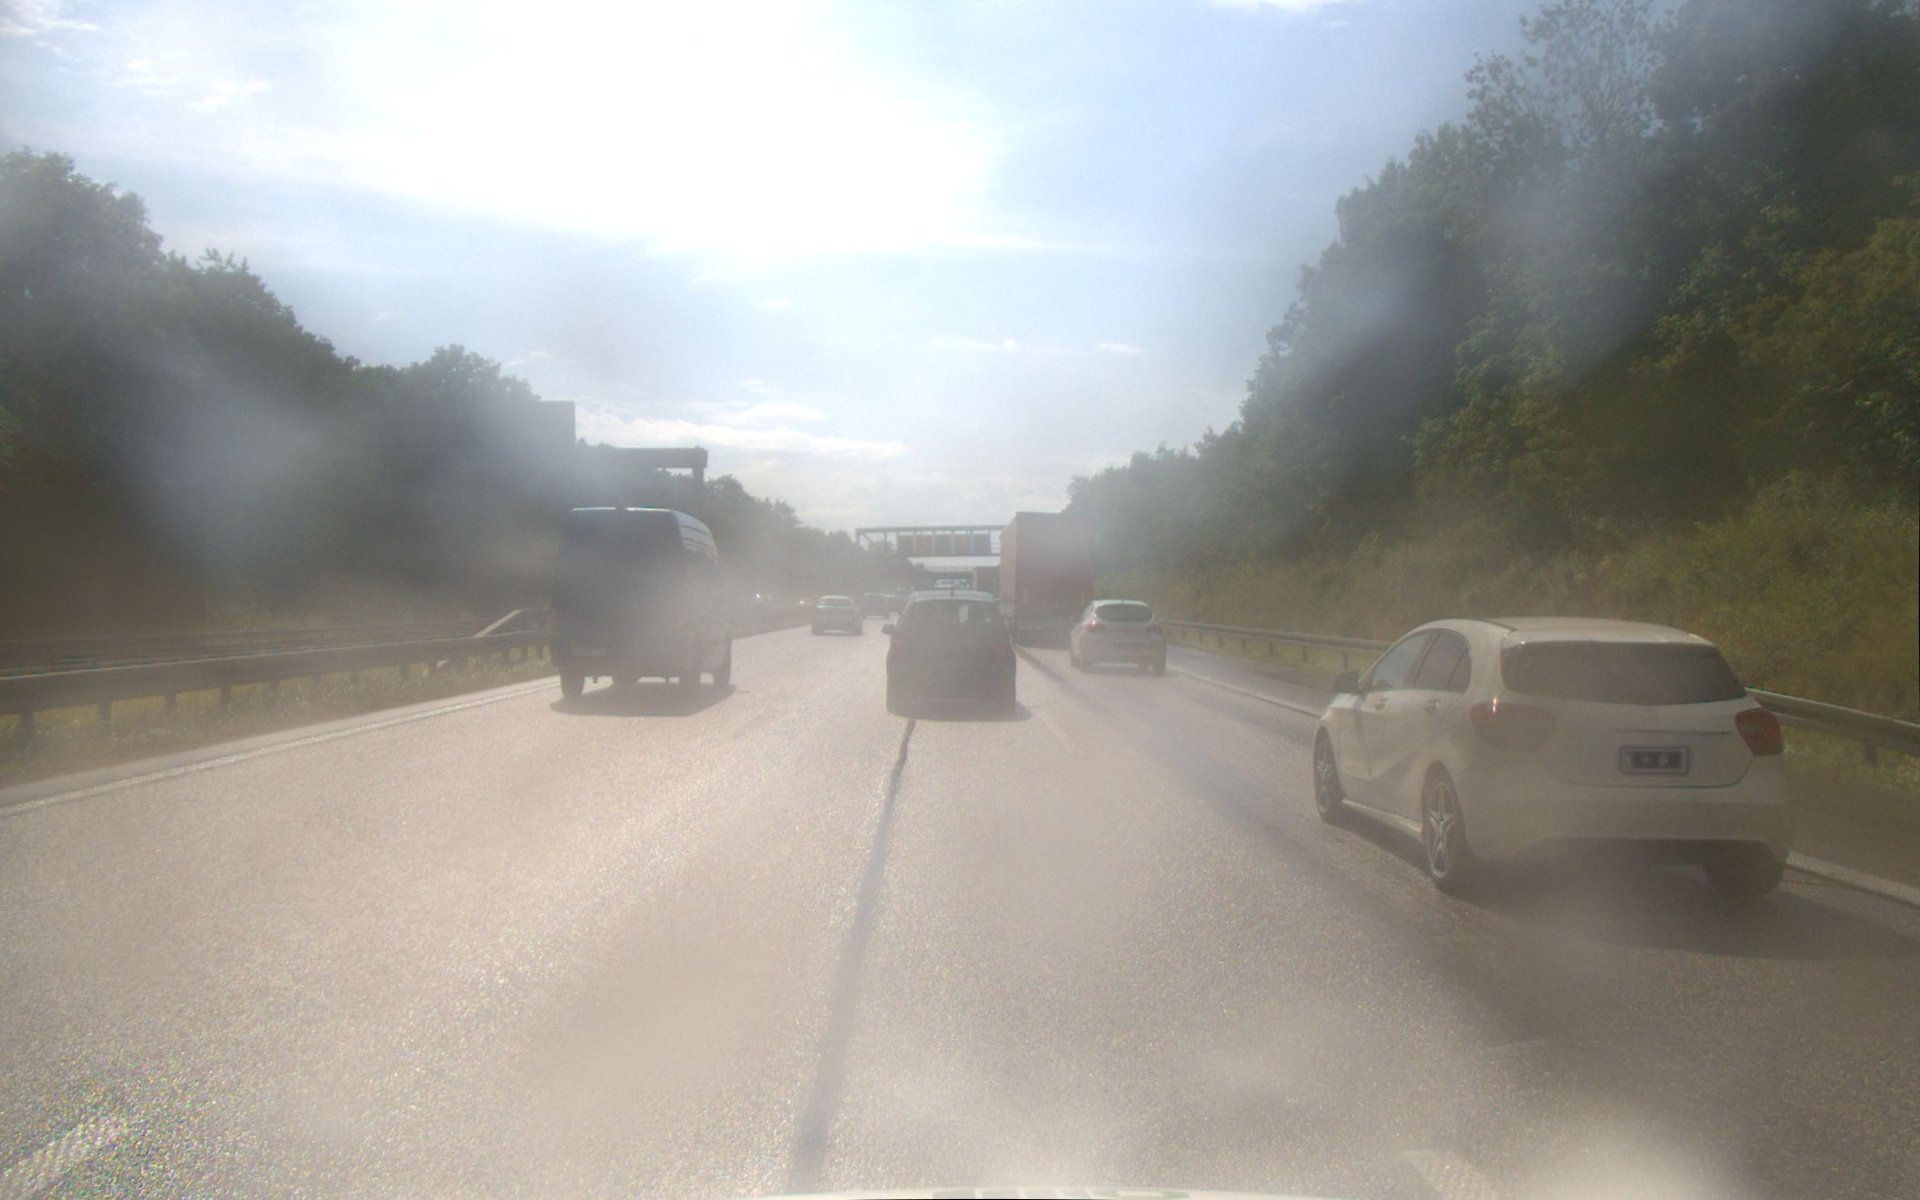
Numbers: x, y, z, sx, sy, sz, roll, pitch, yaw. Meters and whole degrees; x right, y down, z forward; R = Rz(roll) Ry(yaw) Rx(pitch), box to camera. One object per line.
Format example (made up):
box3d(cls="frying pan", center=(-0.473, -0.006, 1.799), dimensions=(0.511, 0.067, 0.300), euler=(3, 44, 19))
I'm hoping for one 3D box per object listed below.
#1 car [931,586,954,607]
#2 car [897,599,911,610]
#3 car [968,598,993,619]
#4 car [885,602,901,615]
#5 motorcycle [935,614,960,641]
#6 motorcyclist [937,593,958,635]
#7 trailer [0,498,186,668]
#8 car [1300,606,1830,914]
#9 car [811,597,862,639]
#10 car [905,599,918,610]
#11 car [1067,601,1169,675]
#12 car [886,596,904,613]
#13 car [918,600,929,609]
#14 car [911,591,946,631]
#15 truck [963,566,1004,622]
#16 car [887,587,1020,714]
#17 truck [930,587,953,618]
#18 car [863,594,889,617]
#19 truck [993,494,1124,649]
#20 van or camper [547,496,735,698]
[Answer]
box3d(cls="car", center=(-1.210, -0.212, 115.476), dimensions=(1.521, 1.407, 3.208), euler=(1, 0, -2))
box3d(cls="car", center=(-6.558, 0.510, 192.906), dimensions=(1.518, 1.289, 3.483), euler=(1, 0, -3))
box3d(cls="car", center=(1.391, 0.554, 114.555), dimensions=(1.521, 1.407, 3.208), euler=(1, 0, -2))
box3d(cls="car", center=(-6.564, 0.841, 161.619), dimensions=(1.518, 1.289, 3.483), euler=(1, 0, -3))
box3d(cls="motorcycle", center=(-0.514, 1.076, 65.148), dimensions=(0.873, 1.018, 2.895), euler=(1, 0, -2))
box3d(cls="motorcyclist", center=(-0.489, 0.548, 65.107), dimensions=(0.785, 1.662, 1.013), euler=(1, 0, -2))
box3d(cls="trailer", center=(-22.172, -0.389, 36.467), dimensions=(2.667, 3.708, 16.672), euler=(1, 0, -1))
box3d(cls="car", center=(3.353, 0.778, 10.083), dimensions=(1.657, 1.450, 4.219), euler=(1, 0, 0))
box3d(cls="car", center=(-4.803, 0.678, 64.727), dimensions=(1.817, 1.578, 3.483), euler=(1, 0, -2))
box3d(cls="car", center=(-6.044, 0.536, 206.252), dimensions=(1.518, 1.289, 3.483), euler=(1, 0, -3))
box3d(cls="car", center=(3.316, 0.764, 35.368), dimensions=(1.647, 1.467, 3.903), euler=(1, 0, -2))
box3d(cls="car", center=(-5.378, 0.376, 136.191), dimensions=(1.431, 1.418, 3.310), euler=(1, 0, -2))
box3d(cls="car", center=(-5.218, 0.617, 237.924), dimensions=(1.518, 1.289, 3.483), euler=(1, 0, -3))
box3d(cls="car", center=(-1.482, 0.515, 76.411), dimensions=(1.501, 1.777, 3.483), euler=(1, 0, -2))
box3d(cls="truck", center=(1.936, -0.490, 141.638), dimensions=(3.189, 4.558, 12.419), euler=(1, 0, 0))
box3d(cls="car", center=(-0.148, 0.649, 22.926), dimensions=(1.683, 1.595, 3.483), euler=(1, 0, -2))
box3d(cls="truck", center=(-1.839, 0.246, 163.339), dimensions=(2.148, 2.926, 4.847), euler=(1, 0, -2))
box3d(cls="car", center=(-5.577, 0.382, 110.027), dimensions=(1.716, 1.482, 3.388), euler=(1, 0, -2))
box3d(cls="truck", center=(3.258, -0.867, 60.257), dimensions=(3.575, 4.803, 16.776), euler=(1, 0, 0))
box3d(cls="van or camper", center=(-4.701, -0.033, 25.181), dimensions=(1.953, 2.715, 5.382), euler=(1, 0, -2))
